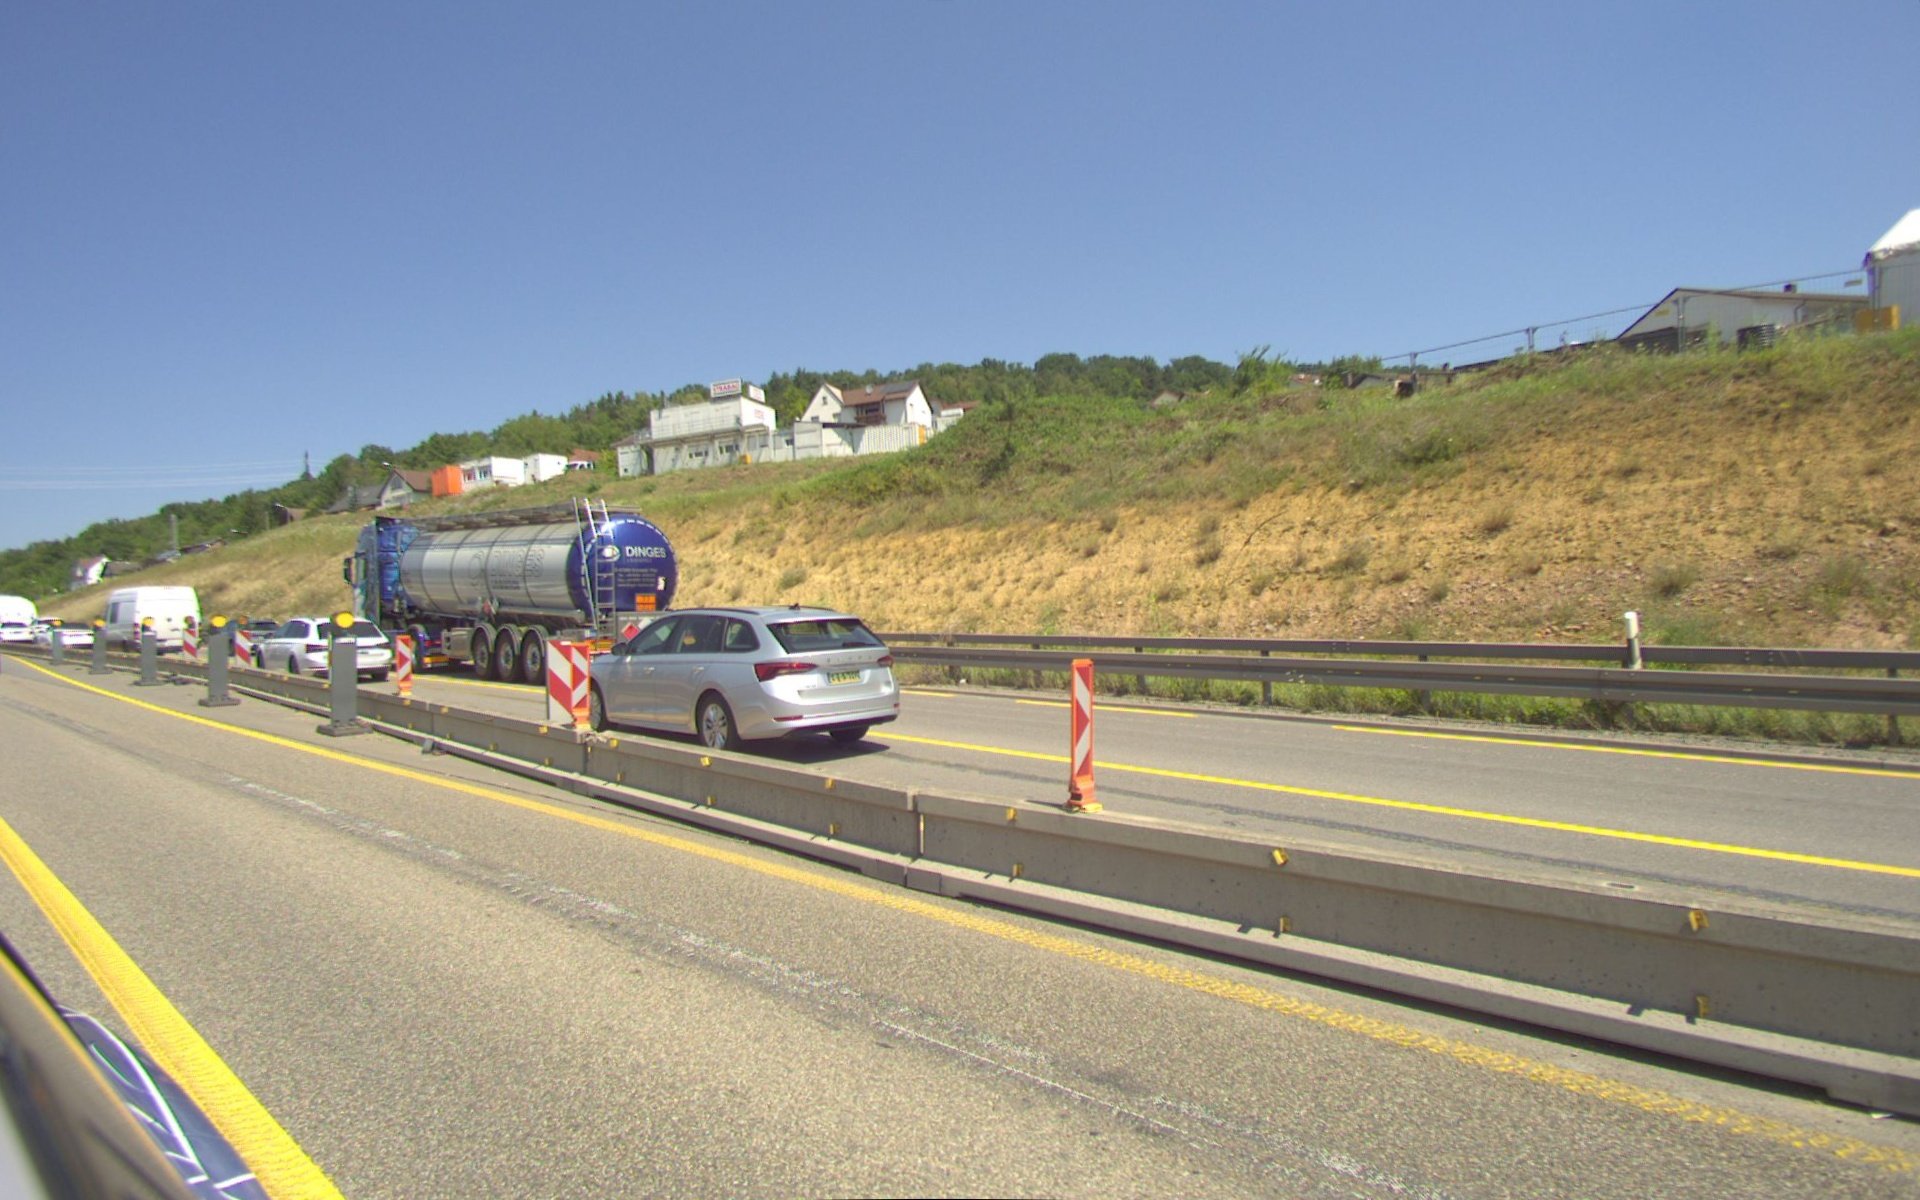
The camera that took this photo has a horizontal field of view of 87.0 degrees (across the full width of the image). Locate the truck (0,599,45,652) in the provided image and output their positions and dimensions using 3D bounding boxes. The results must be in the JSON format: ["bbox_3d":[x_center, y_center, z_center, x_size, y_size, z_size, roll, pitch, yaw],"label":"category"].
[{"bbox_3d":[-77.746,2.029,82.660,13.152,4.077,3.075,-1,0,42],"label":"truck"}]

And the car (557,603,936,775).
[{"bbox_3d":[-2.481,0.797,10.877,1.813,1.440,4.537,-1,-1,-45],"label":"car"}]

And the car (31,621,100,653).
[{"bbox_3d":[-41.422,1.679,46.829,4.386,1.387,1.815,-1,-1,40],"label":"car"}]

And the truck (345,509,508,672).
[{"bbox_3d":[-14.482,-0.229,27.381,4.589,4.006,2.554,-1,0,43],"label":"truck"}]

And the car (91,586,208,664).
[{"bbox_3d":[-30.003,0.890,37.364,6.623,2.649,2.183,-1,-1,41],"label":"car"}]

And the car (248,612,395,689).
[{"bbox_3d":[-14.537,1.080,22.923,1.812,1.530,4.846,-1,-1,-45],"label":"car"}]

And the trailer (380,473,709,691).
[{"bbox_3d":[-9.887,-0.286,22.910,11.277,3.900,2.571,-1,0,44],"label":"trailer"}]

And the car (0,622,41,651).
[{"bbox_3d":[-56.584,2.158,60.561,4.386,1.648,1.815,-1,-1,40],"label":"car"}]

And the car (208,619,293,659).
[{"bbox_3d":[-28.512,1.541,40.627,4.387,1.502,1.814,-1,-1,41],"label":"car"}]

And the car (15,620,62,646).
[{"bbox_3d":[-63.041,2.231,69.214,4.386,1.648,1.815,-1,-1,40],"label":"car"}]
